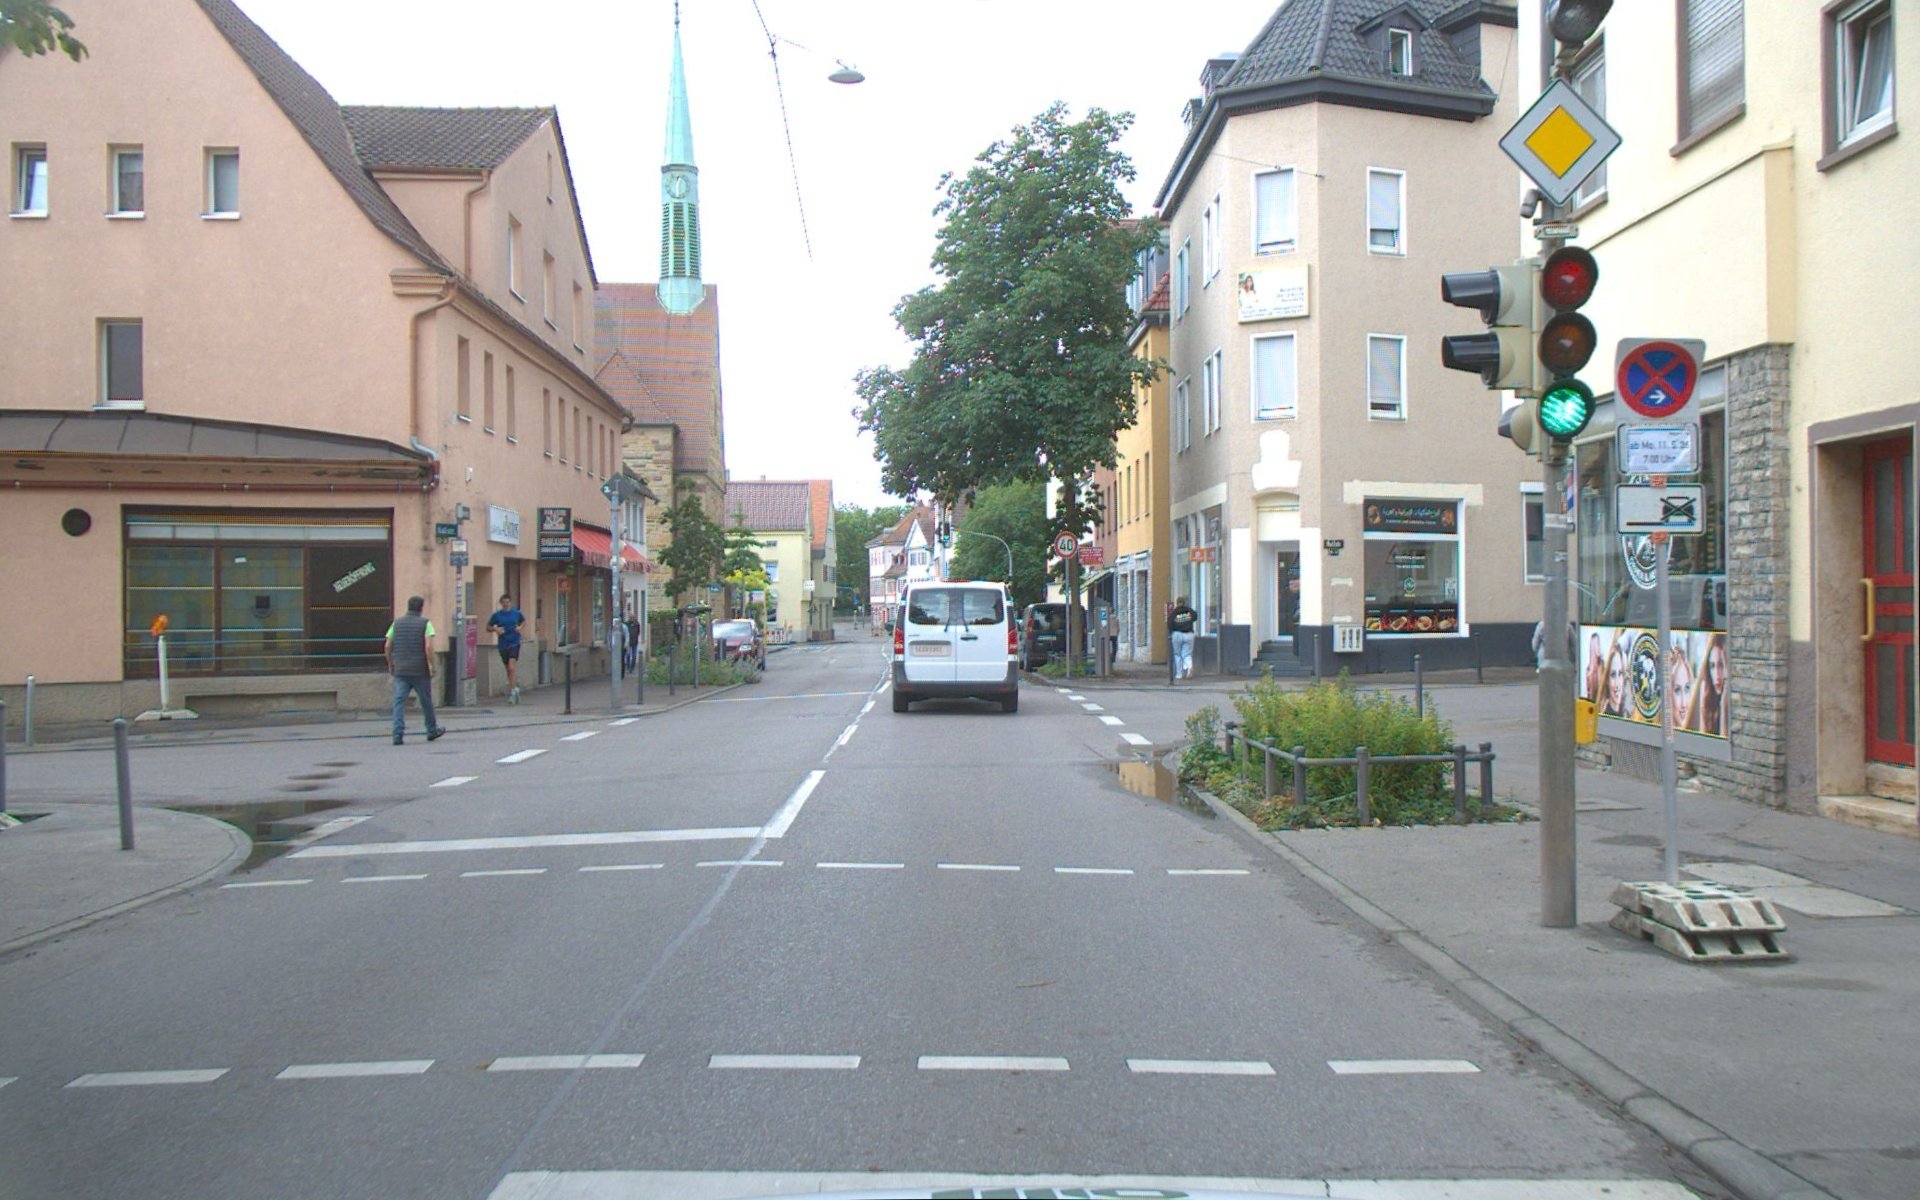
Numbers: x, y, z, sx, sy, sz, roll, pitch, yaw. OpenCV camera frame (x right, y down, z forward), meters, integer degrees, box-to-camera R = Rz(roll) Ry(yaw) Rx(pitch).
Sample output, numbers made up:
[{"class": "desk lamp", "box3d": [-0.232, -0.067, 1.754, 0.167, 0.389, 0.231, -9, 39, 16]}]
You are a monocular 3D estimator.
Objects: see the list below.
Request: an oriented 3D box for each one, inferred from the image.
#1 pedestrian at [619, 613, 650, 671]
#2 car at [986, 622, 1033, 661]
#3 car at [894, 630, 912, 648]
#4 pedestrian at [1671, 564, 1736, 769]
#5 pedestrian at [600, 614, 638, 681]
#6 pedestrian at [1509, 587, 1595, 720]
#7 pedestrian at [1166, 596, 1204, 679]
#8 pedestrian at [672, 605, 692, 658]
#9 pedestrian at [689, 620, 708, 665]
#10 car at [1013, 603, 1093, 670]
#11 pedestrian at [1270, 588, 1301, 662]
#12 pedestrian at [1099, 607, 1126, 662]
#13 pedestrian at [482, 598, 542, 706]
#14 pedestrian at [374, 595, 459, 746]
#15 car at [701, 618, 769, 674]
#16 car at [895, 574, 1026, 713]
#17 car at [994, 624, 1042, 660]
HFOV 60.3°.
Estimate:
[{"class": "pedestrian", "box3d": [-9.317, 1.193, 47.307, 0.721, 1.657, 0.752, 0, -1, -26]}, {"class": "car", "box3d": [2.033, 1.721, 68.883, 1.677, 1.588, 3.783, 0, -1, -3]}, {"class": "car", "box3d": [-6.290, 4.332, 183.405, 1.896, 2.049, 3.997, 1, -1, -3]}, {"class": "pedestrian", "box3d": [6.669, 0.589, 14.829, 0.392, 1.805, 0.383, 2, -2, -35]}, {"class": "pedestrian", "box3d": [-8.116, 1.121, 39.396, 0.724, 1.562, 0.982, 0, -1, -3]}, {"class": "pedestrian", "box3d": [7.722, 0.696, 21.581, 0.669, 1.693, 0.790, 0, -2, -38]}, {"class": "pedestrian", "box3d": [4.636, 0.764, 34.117, 0.602, 1.682, 0.982, 0, -1, -3]}, {"class": "pedestrian", "box3d": [-10.099, 1.145, 60.116, 0.559, 1.880, 0.696, 2, -1, -2]}, {"class": "pedestrian", "box3d": [-9.385, 1.519, 59.438, 0.559, 1.582, 0.696, 1, -1, -2]}, {"class": "car", "box3d": [2.591, 1.045, 47.159, 1.783, 1.812, 4.399, 0, -1, -4]}, {"class": "pedestrian", "box3d": [7.010, 0.535, 35.599, 0.555, 1.588, 0.520, 0, -2, -2]}, {"class": "pedestrian", "box3d": [4.771, 1.082, 51.879, 0.687, 1.678, 0.888, -1, -1, -3]}, {"class": "pedestrian", "box3d": [-7.371, 0.844, 27.251, 0.724, 1.748, 1.155, 0, -1, -4]}, {"class": "pedestrian", "box3d": [-6.582, 0.836, 20.075, 0.724, 1.785, 0.982, 0, -1, -2]}, {"class": "car", "box3d": [-7.015, 1.396, 51.918, 1.669, 1.601, 4.448, -2, 0, -3]}, {"class": "car", "box3d": [-0.031, 0.635, 25.193, 1.835, 1.945, 3.999, 0, -1, -1]}, {"class": "car", "box3d": [2.228, 1.615, 64.286, 1.520, 1.356, 3.809, 0, -1, -3]}]
